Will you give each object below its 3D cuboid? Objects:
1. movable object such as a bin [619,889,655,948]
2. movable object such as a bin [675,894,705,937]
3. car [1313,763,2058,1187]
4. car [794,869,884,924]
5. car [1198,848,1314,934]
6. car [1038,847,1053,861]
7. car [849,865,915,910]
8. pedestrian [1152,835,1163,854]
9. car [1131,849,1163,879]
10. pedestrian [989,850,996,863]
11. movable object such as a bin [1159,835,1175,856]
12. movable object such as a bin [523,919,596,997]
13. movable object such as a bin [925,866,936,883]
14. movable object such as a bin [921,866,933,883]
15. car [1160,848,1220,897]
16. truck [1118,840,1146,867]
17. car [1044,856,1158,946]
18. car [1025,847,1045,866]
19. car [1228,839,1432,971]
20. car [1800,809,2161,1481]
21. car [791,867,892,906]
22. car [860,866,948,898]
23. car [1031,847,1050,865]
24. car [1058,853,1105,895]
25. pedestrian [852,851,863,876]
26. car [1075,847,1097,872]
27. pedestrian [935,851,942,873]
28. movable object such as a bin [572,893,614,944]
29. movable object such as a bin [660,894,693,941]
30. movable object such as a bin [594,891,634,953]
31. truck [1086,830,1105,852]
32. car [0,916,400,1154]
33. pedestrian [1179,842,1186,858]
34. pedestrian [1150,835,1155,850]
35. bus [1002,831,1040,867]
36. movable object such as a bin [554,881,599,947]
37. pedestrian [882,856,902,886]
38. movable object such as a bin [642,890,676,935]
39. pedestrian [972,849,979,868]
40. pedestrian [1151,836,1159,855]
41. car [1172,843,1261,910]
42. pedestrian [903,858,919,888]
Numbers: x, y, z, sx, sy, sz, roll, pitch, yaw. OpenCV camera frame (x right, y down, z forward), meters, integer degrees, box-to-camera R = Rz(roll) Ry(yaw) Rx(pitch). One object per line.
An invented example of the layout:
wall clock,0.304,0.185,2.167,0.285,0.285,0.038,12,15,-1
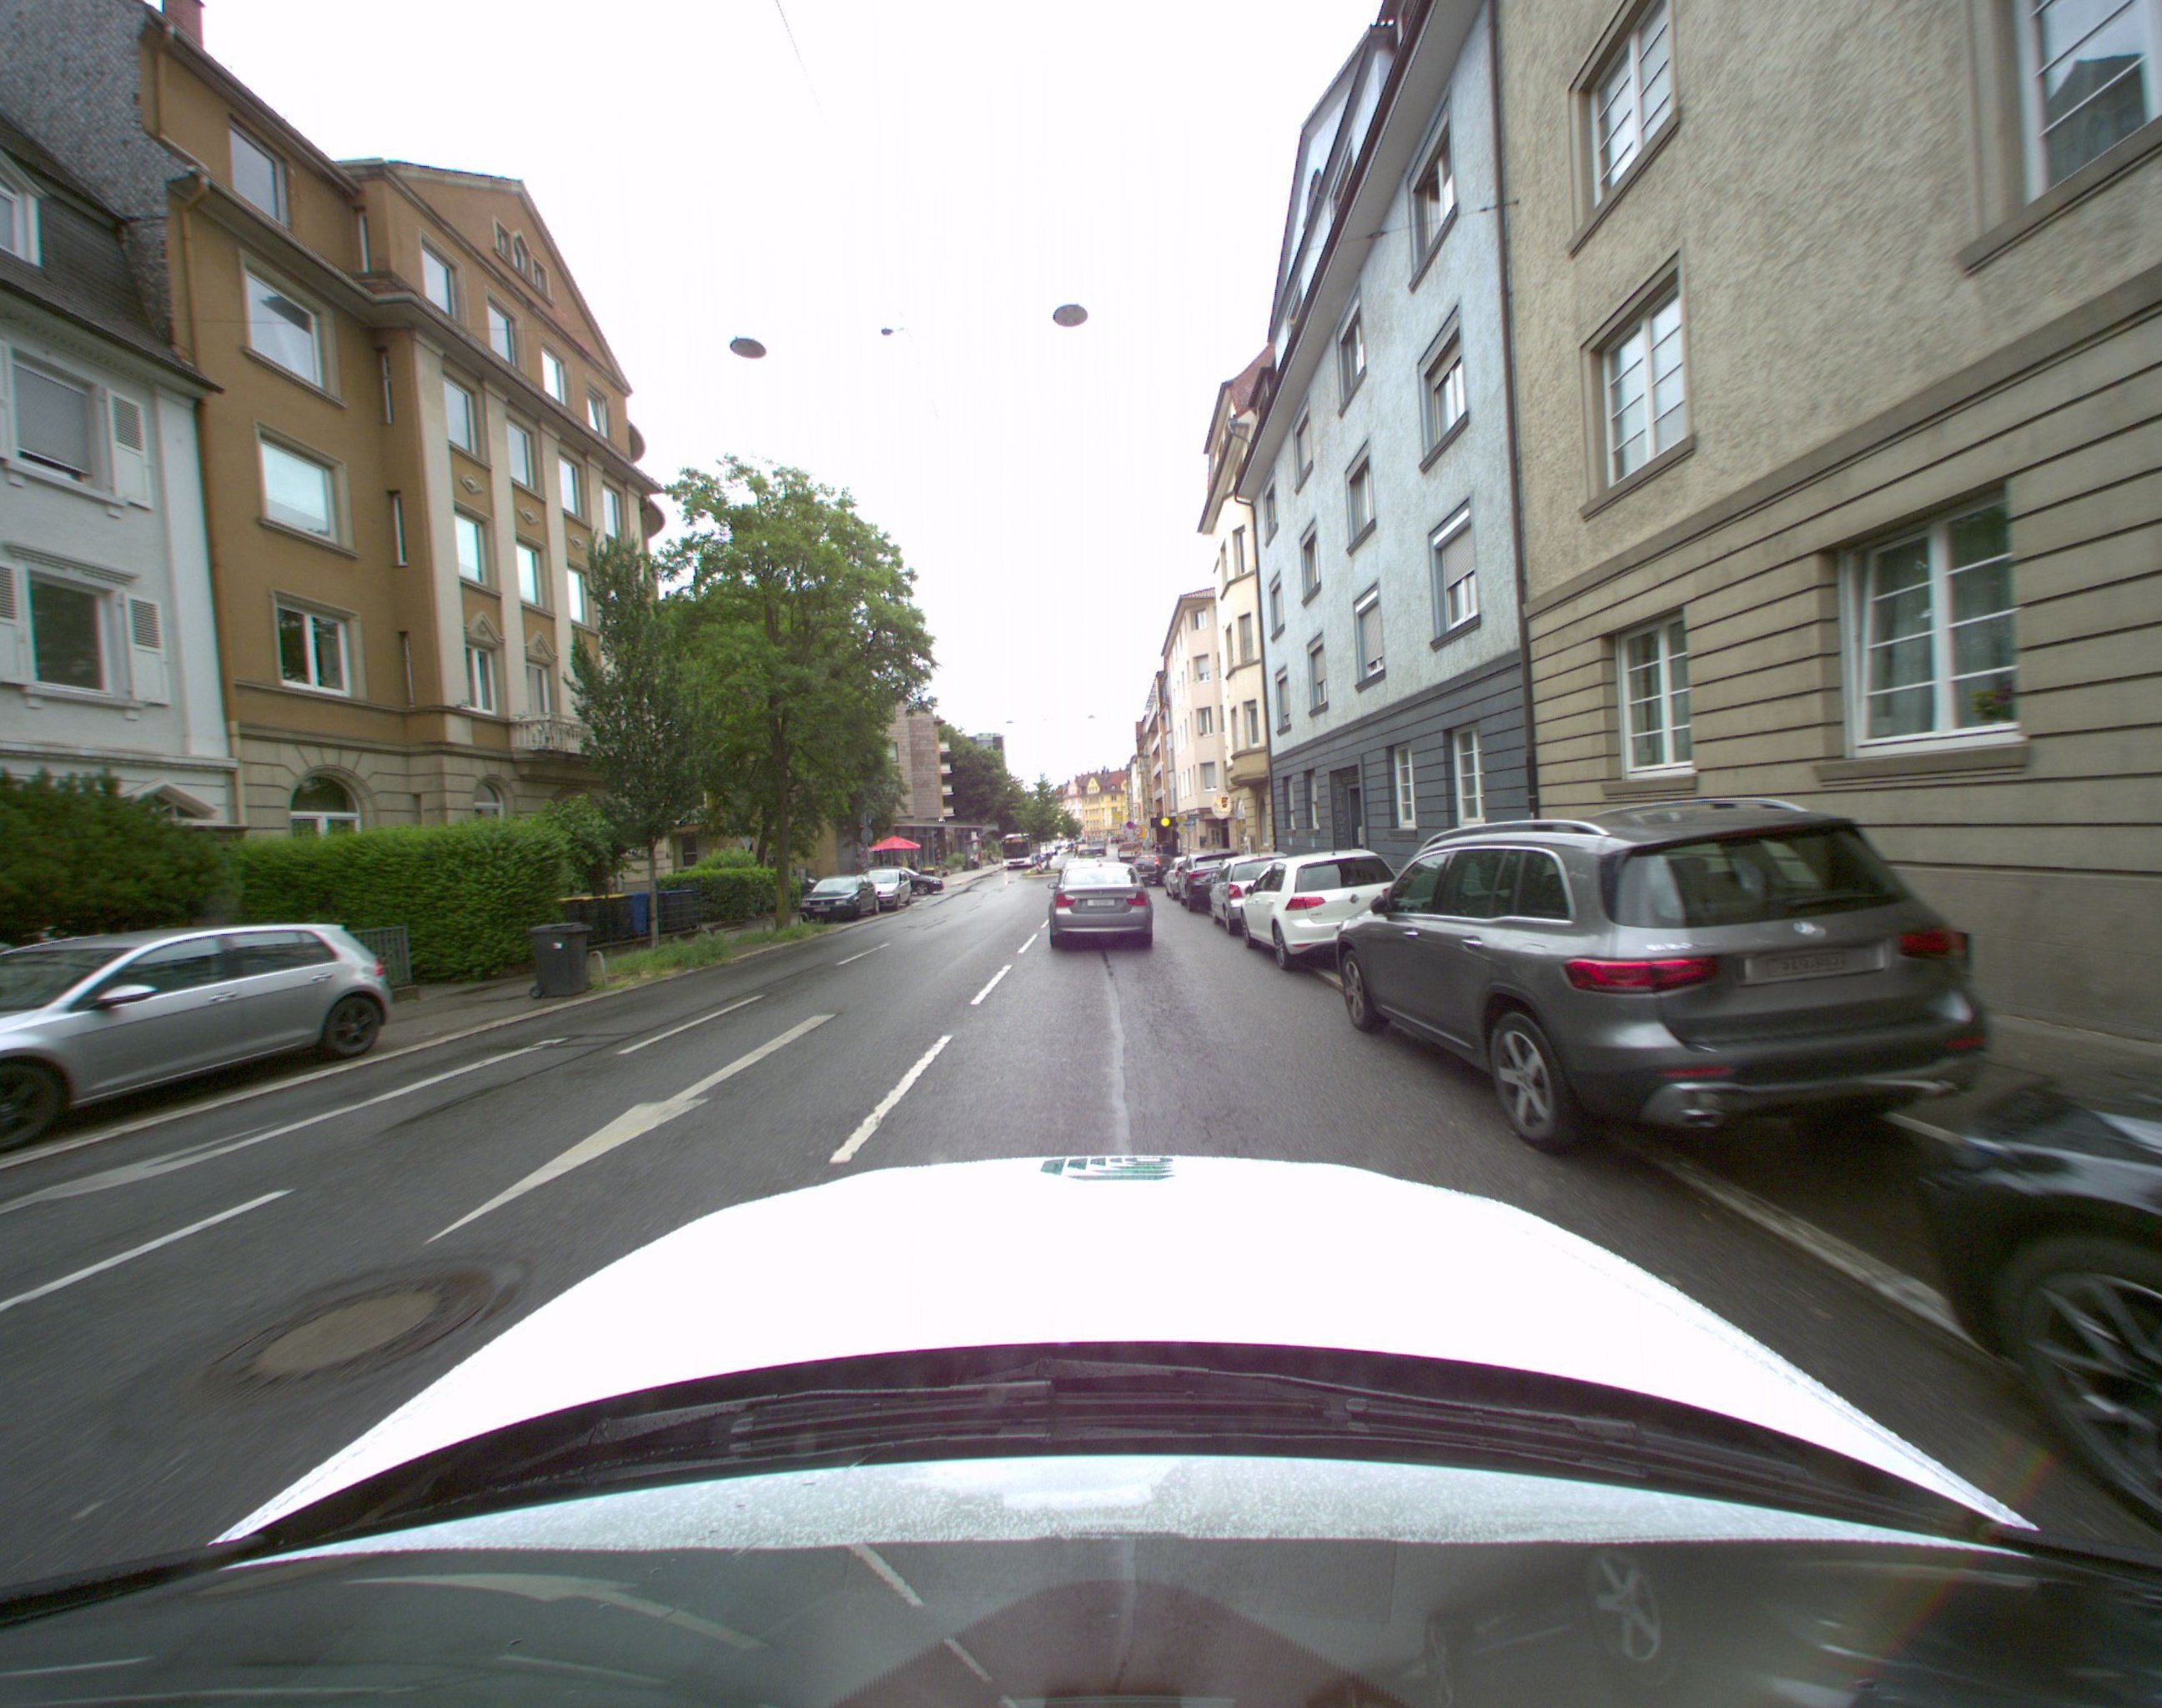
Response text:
movable object such as a bin,-10.484,1.514,19.244,0.438,1.308,0.609,-4,0,1
movable object such as a bin,-10.396,1.629,21.668,0.438,1.081,0.590,-4,0,1
car,3.134,0.513,5.516,1.835,1.621,4.208,-5,0,0
car,-7.673,1.295,26.209,1.648,1.454,3.942,-3,0,0
car,3.484,0.674,16.834,1.577,1.429,3.596,-6,0,1
car,-5.015,0.011,116.064,1.987,2.014,4.000,-1,-1,0
car,-7.442,1.204,30.772,1.628,1.454,3.836,-3,0,-2
pedestrian,6.759,-0.817,71.908,0.751,1.661,0.751,0,-1,-15
car,3.220,0.492,40.028,1.430,1.356,3.765,-1,-1,3
pedestrian,-9.750,0.292,89.879,0.617,1.378,0.545,-1,-1,2
movable object such as a bin,7.760,-0.762,73.373,1.119,1.702,1.433,-4,-1,-1
movable object such as a bin,-7.761,1.532,12.134,0.627,1.058,0.600,-4,-1,1
movable object such as a bin,-10.172,1.403,55.077,0.488,1.081,0.606,-4,-1,2
movable object such as a bin,-10.270,1.393,54.343,0.551,1.081,0.731,-4,-1,2
car,3.761,0.590,28.579,1.563,1.464,4.091,-5,0,2
truck,4.194,-0.066,66.436,2.205,2.117,4.658,0,0,5
car,0.351,0.766,14.430,1.749,1.362,3.165,-2,-1,1
car,-5.147,0.319,92.336,1.987,2.014,4.000,-1,-1,0
car,3.390,0.609,11.908,1.723,1.429,3.975,-6,0,1
car,3.199,0.582,0.344,1.835,1.409,4.388,-6,0,0
car,-10.480,1.416,35.822,3.799,1.389,1.745,-4,1,3
car,-8.548,1.339,39.563,3.803,1.390,1.742,-2,-1,0
car,-4.958,0.257,100.112,1.987,2.014,4.000,-2,-1,0
car,-0.016,0.703,29.632,1.597,1.420,3.286,-1,-1,-1
pedestrian,-17.009,0.735,62.005,0.639,1.816,0.630,-4,1,-23
car,0.407,0.486,68.109,1.700,2.014,3.997,-1,-1,-2
pedestrian,-11.762,0.677,67.307,0.462,1.790,0.545,-1,-1,7
movable object such as a bin,-10.555,1.387,17.636,0.438,1.039,0.650,-4,0,1
movable object such as a bin,-10.393,1.618,20.920,0.438,1.130,0.657,-4,0,1
movable object such as a bin,-10.532,1.518,18.392,0.438,1.308,0.650,-4,0,1
truck,1.804,-1.570,99.551,2.209,2.544,4.780,-1,-1,1
car,-8.244,1.400,6.789,1.676,1.390,3.938,-3,0,2
pedestrian,8.335,-0.335,66.694,0.411,1.202,0.357,-6,1,4
pedestrian,8.203,-1.286,93.438,0.611,1.661,0.756,-1,-1,7
bus,-5.726,-0.378,79.831,2.672,3.201,11.955,-1,-1,1
movable object such as a bin,-10.604,1.252,17.131,0.438,1.299,0.650,-4,0,1
pedestrian,-11.578,1.030,49.984,1.062,1.731,0.712,-3,1,-9
movable object such as a bin,-10.488,1.457,20.263,0.425,1.040,0.650,-4,0,1
pedestrian,-9.569,0.415,74.016,0.542,1.709,0.465,-1,-1,-5
pedestrian,6.852,-0.773,75.455,0.745,1.661,0.838,-1,-1,7
car,3.723,0.560,23.026,1.811,1.557,4.295,-5,0,2
pedestrian,-10.345,1.143,49.467,0.741,1.709,0.676,-5,1,-17
